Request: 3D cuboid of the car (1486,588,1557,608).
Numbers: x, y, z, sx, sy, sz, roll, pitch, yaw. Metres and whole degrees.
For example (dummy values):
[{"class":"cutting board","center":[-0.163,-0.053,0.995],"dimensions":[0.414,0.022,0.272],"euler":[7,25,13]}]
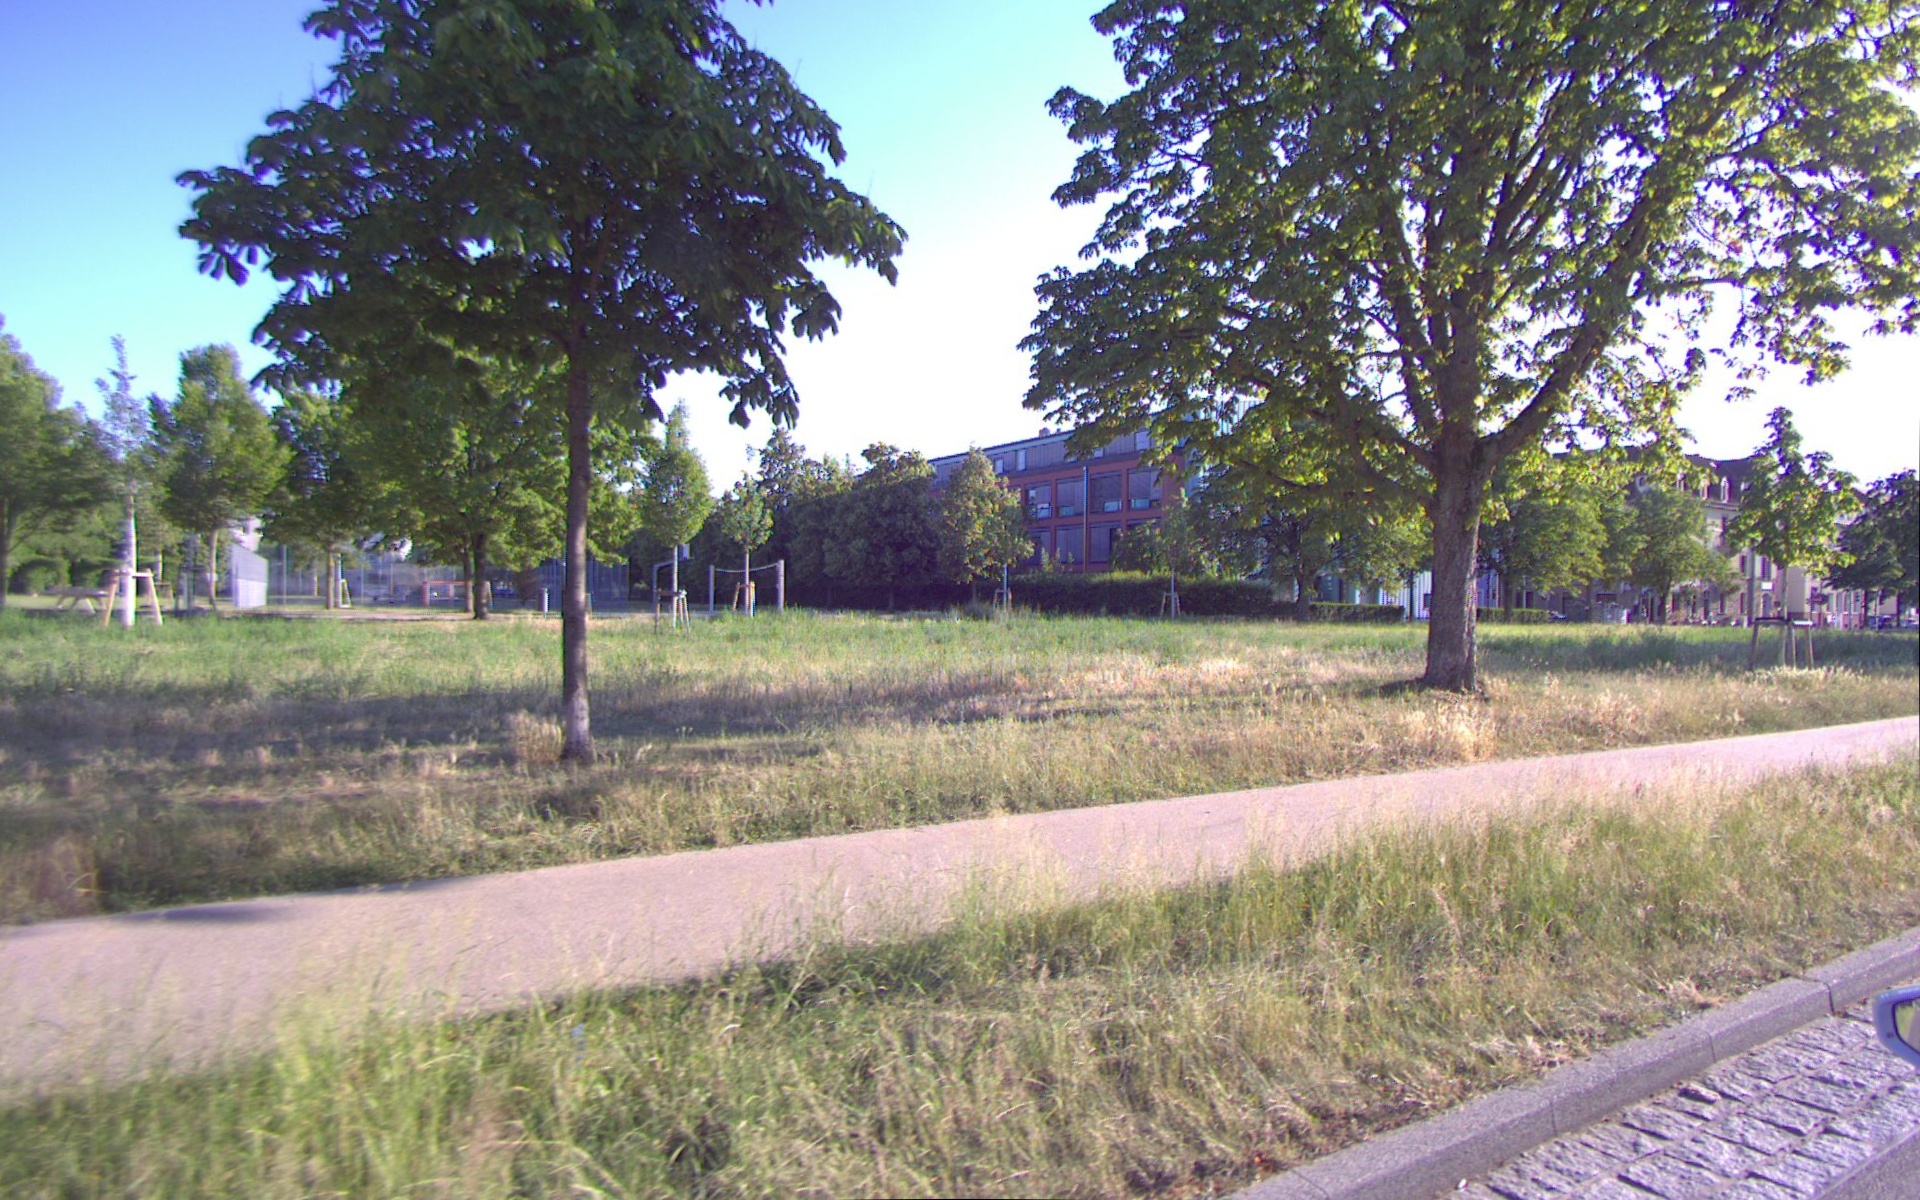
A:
[{"class":"car","center":[46.388,-0.182,83.060],"dimensions":[1.798,1.453,4.728],"euler":[2,0,-38]}]
